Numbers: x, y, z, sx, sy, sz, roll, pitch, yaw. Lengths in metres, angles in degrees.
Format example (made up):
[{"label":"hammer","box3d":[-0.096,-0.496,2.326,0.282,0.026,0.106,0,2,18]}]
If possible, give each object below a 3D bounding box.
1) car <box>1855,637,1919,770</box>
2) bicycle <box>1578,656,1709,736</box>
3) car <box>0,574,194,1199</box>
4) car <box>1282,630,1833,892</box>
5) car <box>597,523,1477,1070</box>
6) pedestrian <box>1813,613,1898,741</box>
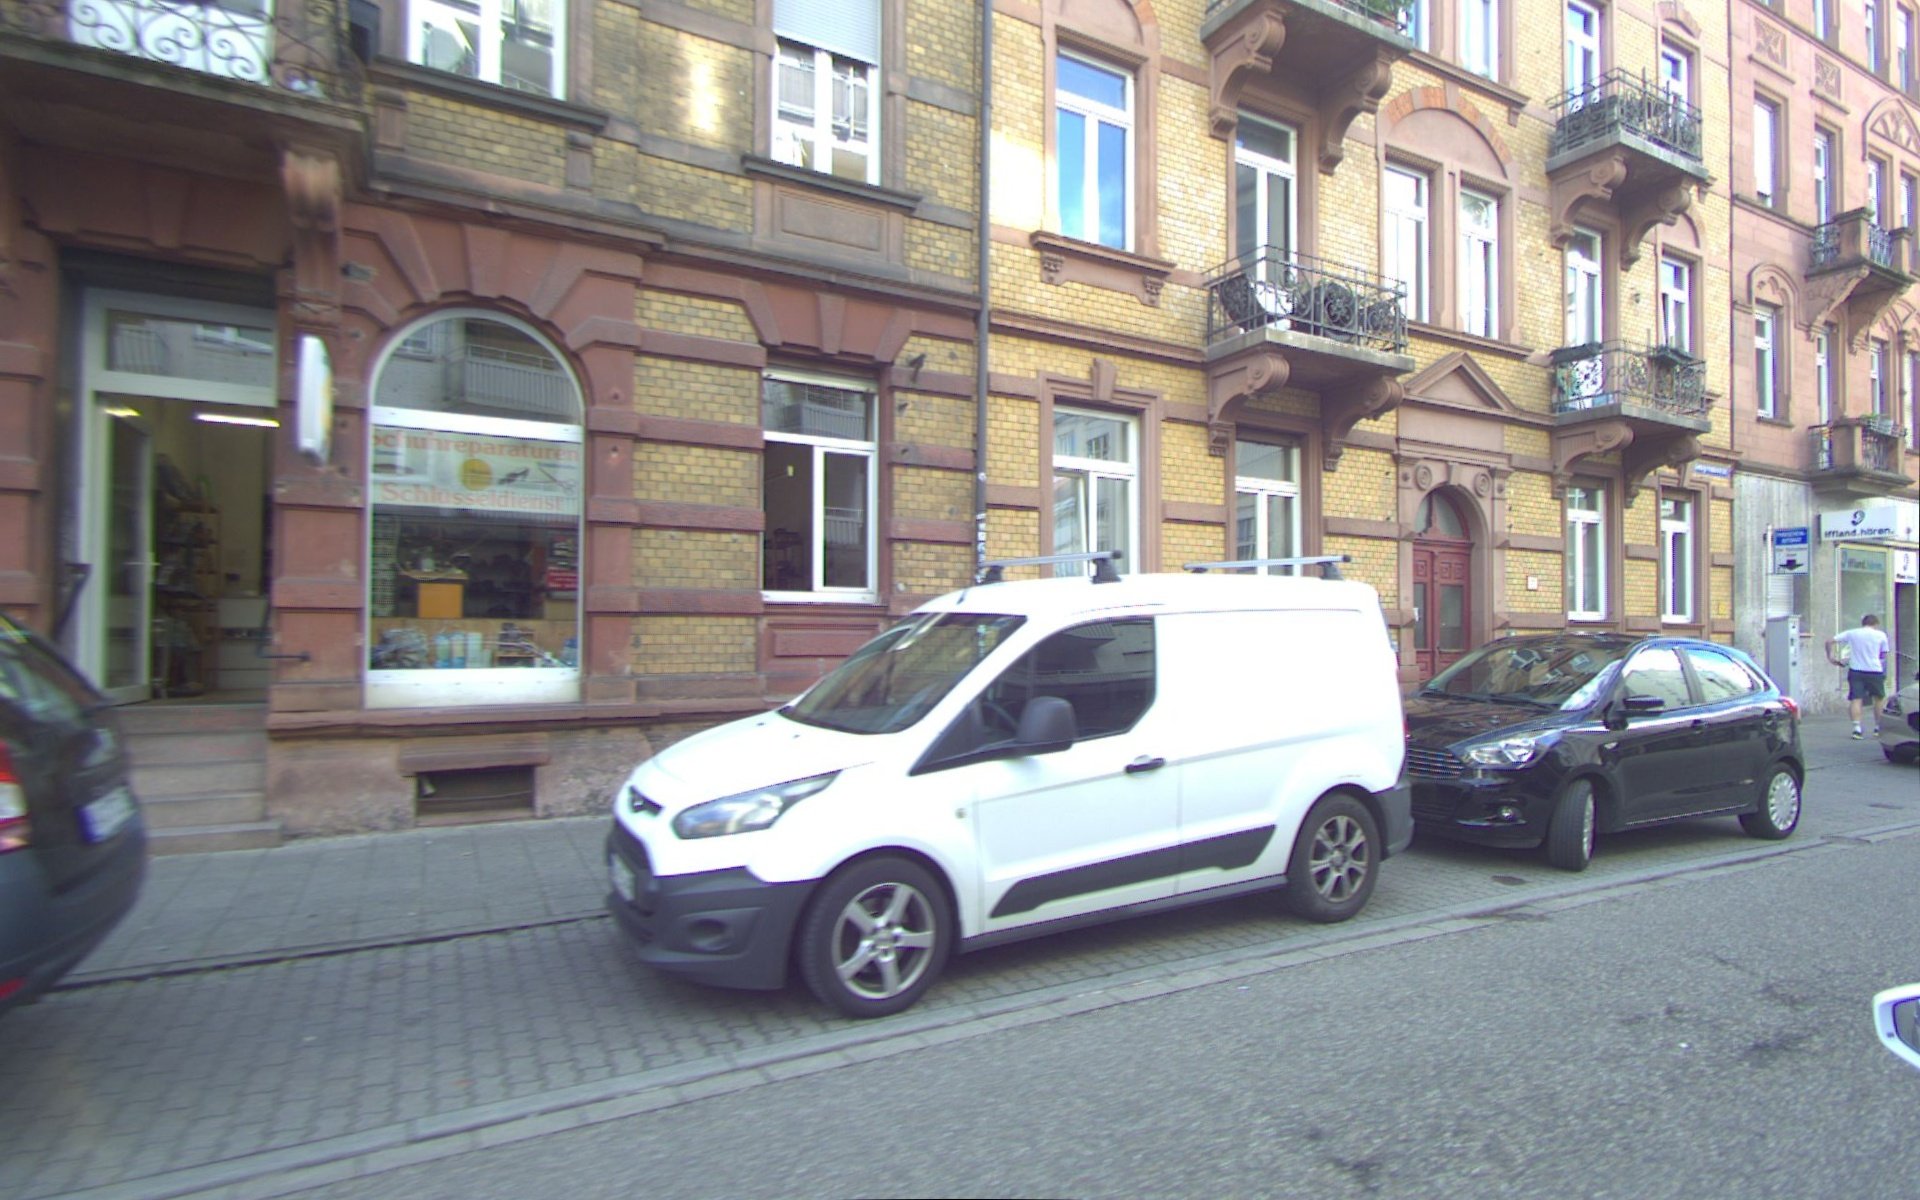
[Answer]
[{"label":"car","box3d":[12.812,1.220,12.172,3.934,1.503,1.734,1,-1,-29]},{"label":"bicycle","box3d":[10.077,1.383,14.801,1.749,1.051,0.894,1,-1,-28]},{"label":"car","box3d":[-4.663,0.761,2.507,4.095,1.660,1.985,1,-1,-29]},{"label":"car","box3d":[4.532,1.023,7.563,3.932,1.503,1.736,2,-1,-27]},{"label":"car","box3d":[0.493,0.720,5.377,4.381,1.896,1.912,1,-1,-28]},{"label":"pedestrian","box3d":[13.289,1.112,14.915,0.764,1.814,0.726,0,2,-35]}]
